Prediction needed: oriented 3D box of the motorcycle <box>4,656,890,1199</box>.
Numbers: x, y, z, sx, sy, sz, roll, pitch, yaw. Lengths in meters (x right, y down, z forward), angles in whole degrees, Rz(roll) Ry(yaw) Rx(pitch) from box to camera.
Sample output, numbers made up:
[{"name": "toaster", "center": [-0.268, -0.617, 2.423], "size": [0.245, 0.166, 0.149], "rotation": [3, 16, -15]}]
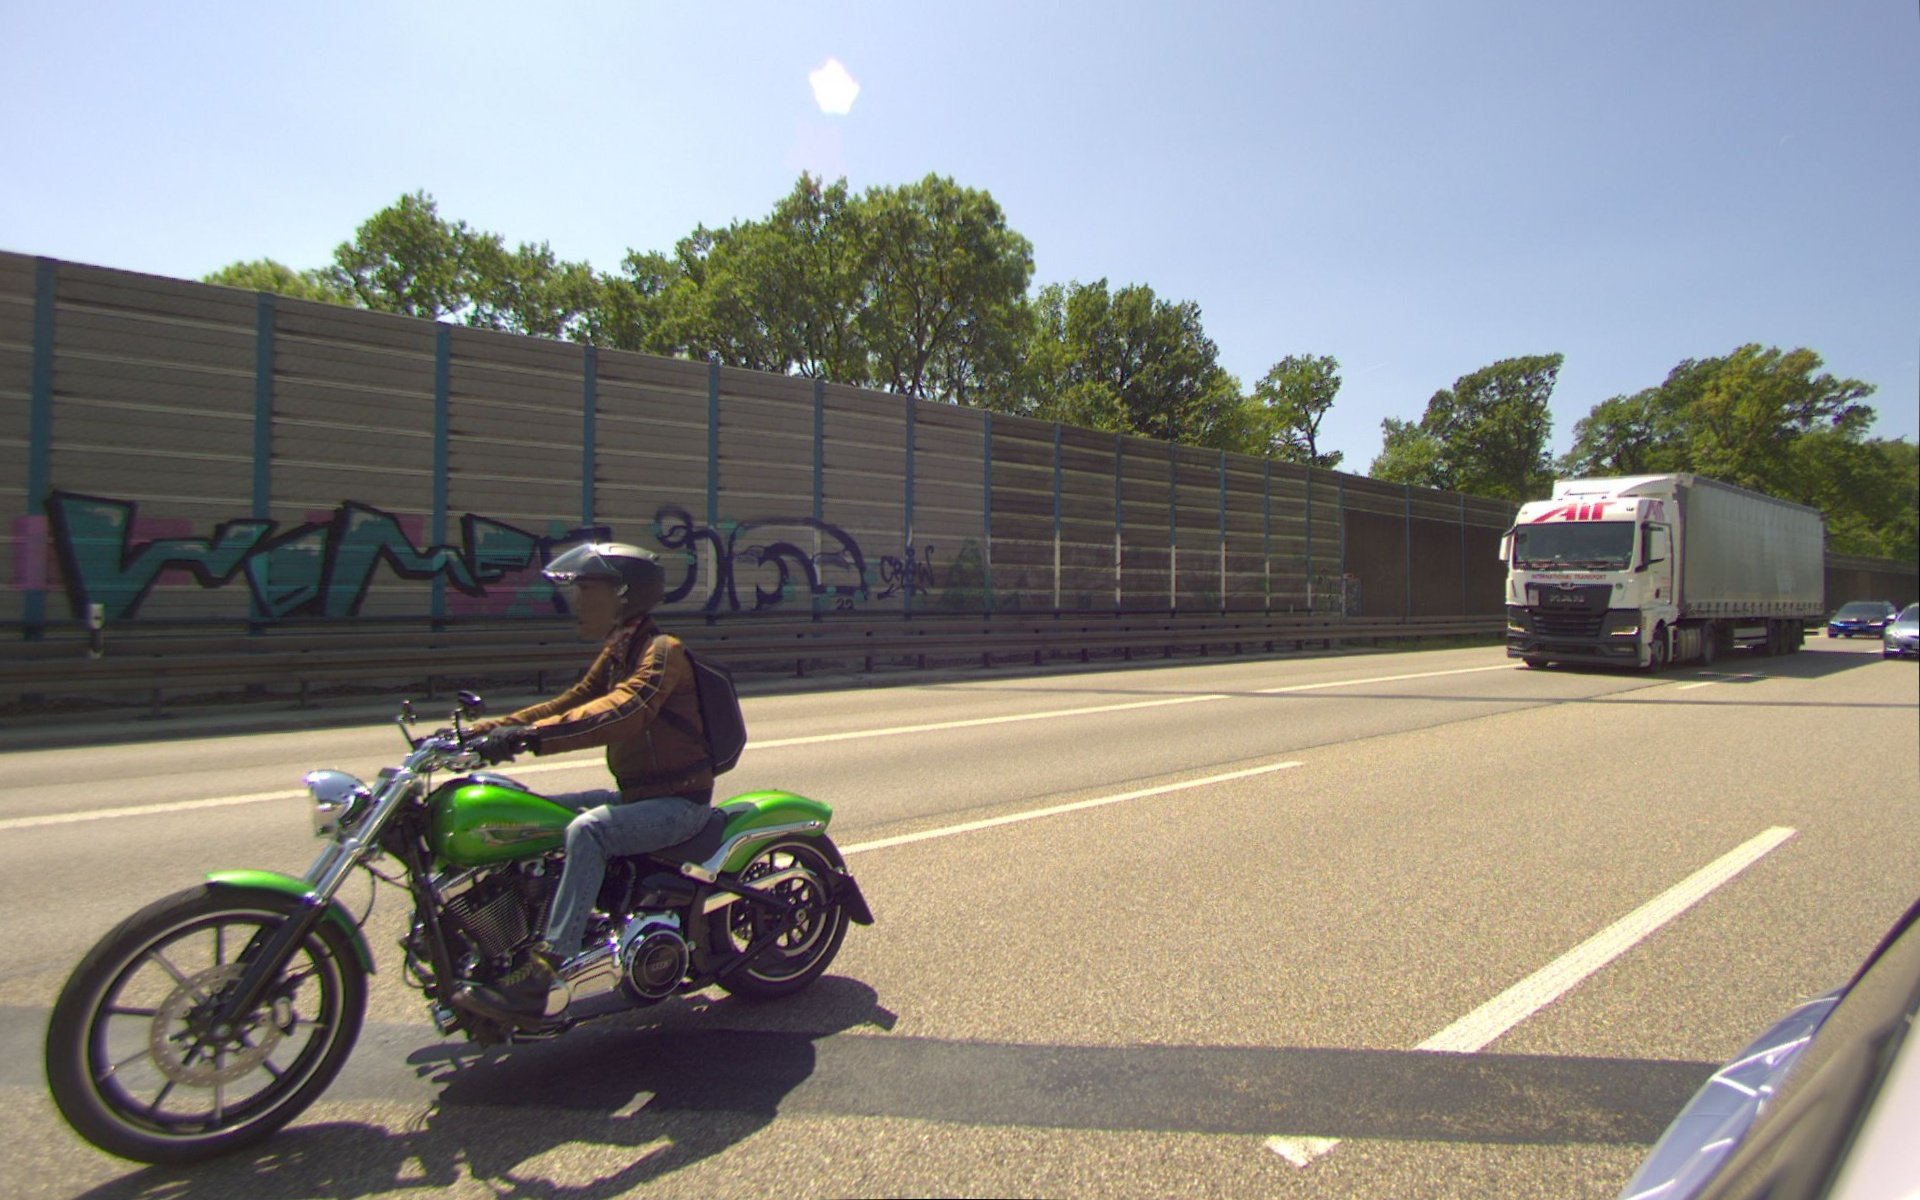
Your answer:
[{"name": "motorcycle", "center": [-1.380, 0.831, 3.147], "size": [2.235, 1.197, 0.861], "rotation": [0, 0, -39]}]

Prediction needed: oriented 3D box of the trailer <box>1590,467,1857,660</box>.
[{"name": "trailer", "center": [20.830, -0.870, 27.052], "size": [13.348, 4.141, 2.604], "rotation": [-1, 1, -39]}]

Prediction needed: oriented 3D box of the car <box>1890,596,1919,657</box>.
[{"name": "car", "center": [24.836, 0.640, 25.164], "size": [4.099, 1.452, 1.861], "rotation": [0, 0, -37]}]

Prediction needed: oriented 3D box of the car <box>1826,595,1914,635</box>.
[{"name": "car", "center": [35.794, 0.553, 39.799], "size": [4.099, 1.512, 1.861], "rotation": [0, 0, -37]}]

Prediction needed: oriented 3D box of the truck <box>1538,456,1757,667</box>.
[{"name": "truck", "center": [15.449, -0.796, 22.630], "size": [5.453, 4.141, 2.604], "rotation": [-1, 1, -39]}]

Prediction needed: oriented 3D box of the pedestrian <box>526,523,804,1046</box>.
[{"name": "pedestrian", "center": [-1.021, 0.525, 3.436], "size": [0.626, 1.497, 0.853], "rotation": [1, 0, -38]}]
